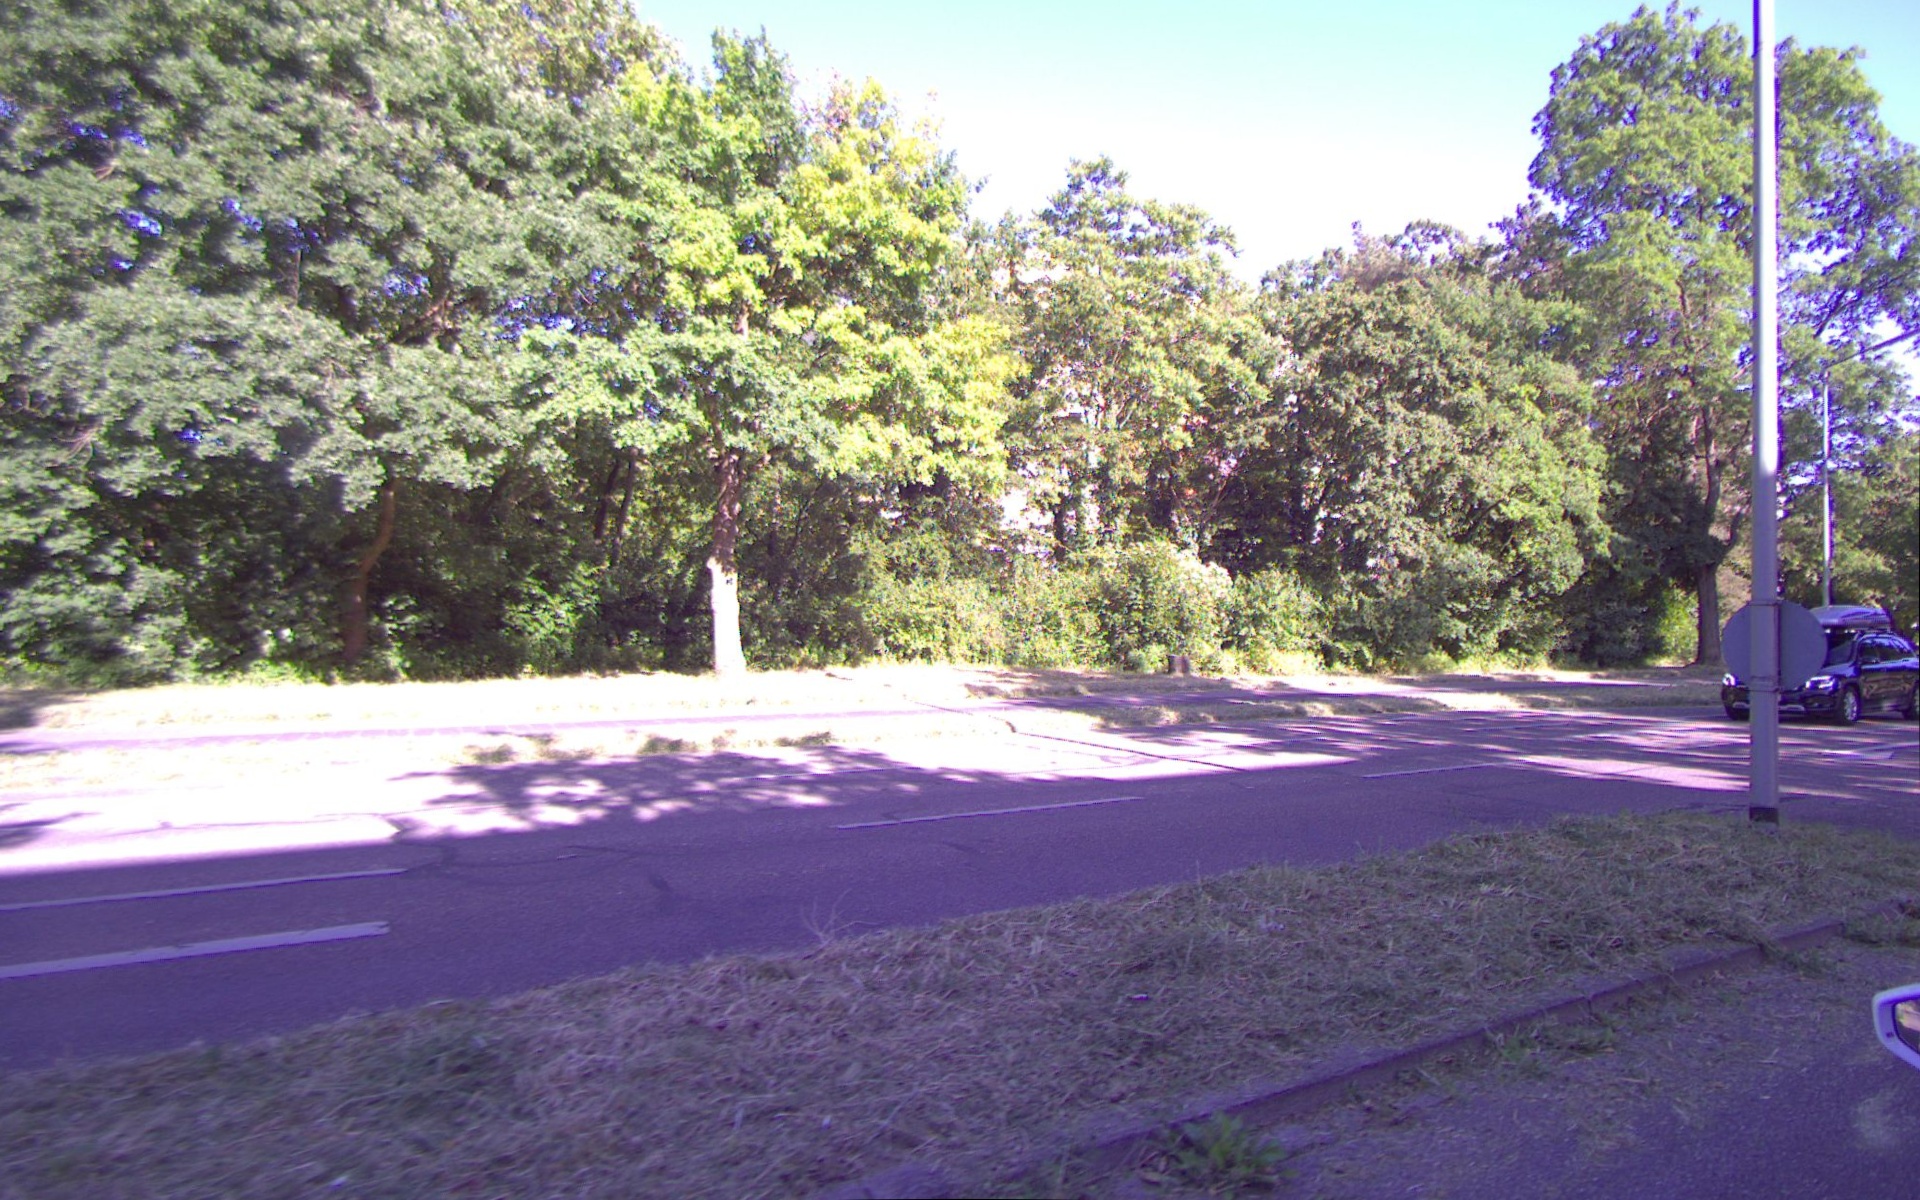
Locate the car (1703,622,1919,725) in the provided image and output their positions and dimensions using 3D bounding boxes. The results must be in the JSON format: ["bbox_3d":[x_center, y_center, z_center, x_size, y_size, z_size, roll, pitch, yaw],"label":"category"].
[{"bbox_3d":[16.113,1.316,18.803,4.449,1.730,1.832,1,-3,-29],"label":"car"}]
